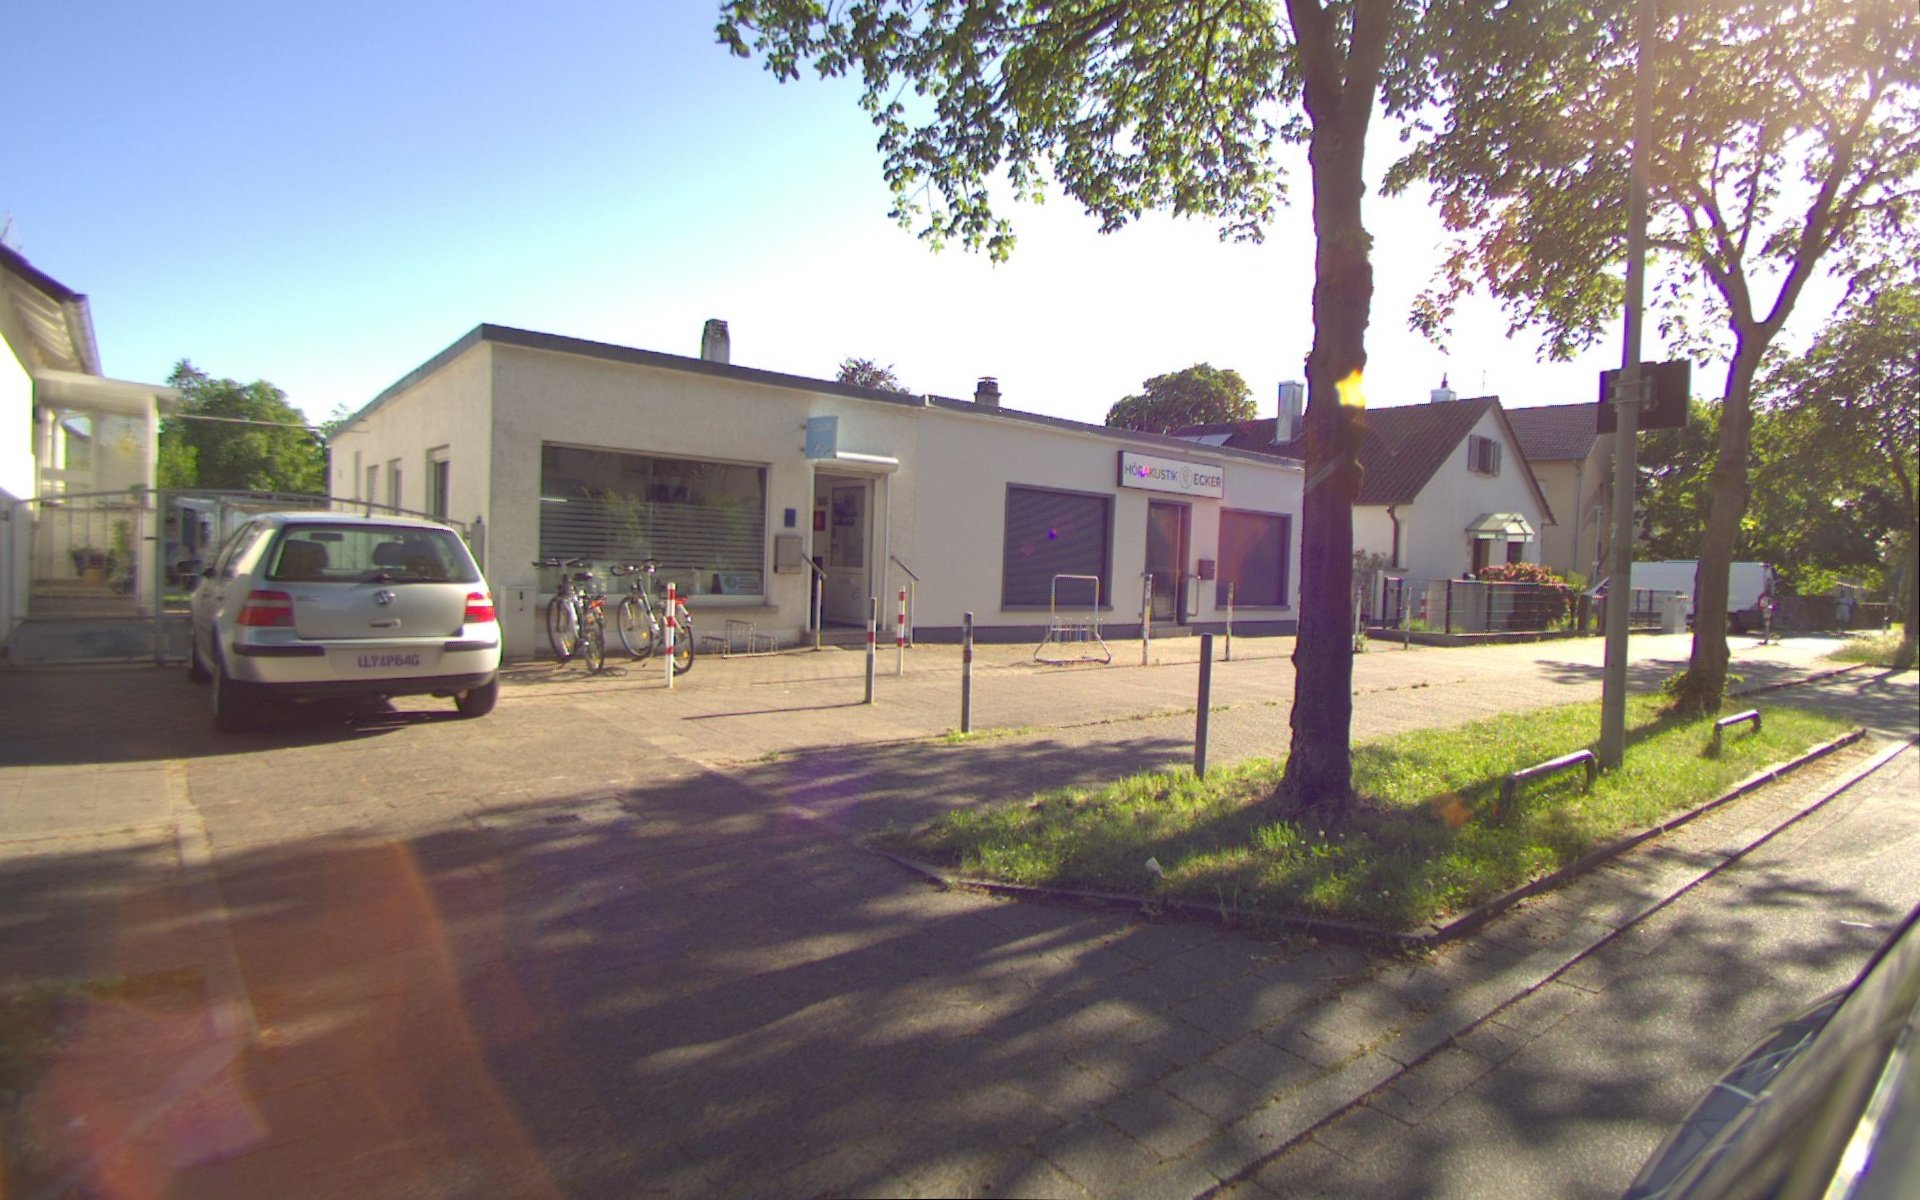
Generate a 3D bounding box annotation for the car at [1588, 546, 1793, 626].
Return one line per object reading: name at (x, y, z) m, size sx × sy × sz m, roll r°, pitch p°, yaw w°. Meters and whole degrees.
car at (26.231, -0.563, 36.513) m, size 2.227 × 2.570 × 5.603 m, roll 1°, pitch 3°, yaw -43°

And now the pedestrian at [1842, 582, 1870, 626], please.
pedestrian at (36.421, 0.169, 41.137) m, size 0.601 × 1.726 × 0.638 m, roll 2°, pitch 4°, yaw -41°

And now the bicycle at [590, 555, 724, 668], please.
bicycle at (-3.259, 0.090, 10.765) m, size 0.566 × 1.010 × 1.962 m, roll 2°, pitch 3°, yaw -41°

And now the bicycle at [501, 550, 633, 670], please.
bicycle at (-3.952, 0.063, 10.085) m, size 0.566 × 1.010 × 1.928 m, roll 2°, pitch 3°, yaw -41°

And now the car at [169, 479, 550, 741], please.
car at (-4.887, -0.087, 7.943) m, size 1.868 × 1.506 × 3.997 m, roll 2°, pitch 3°, yaw -41°

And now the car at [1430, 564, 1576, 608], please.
car at (22.013, -0.590, 41.158) m, size 2.246 × 1.601 × 4.747 m, roll 2°, pitch 0°, yaw -43°
